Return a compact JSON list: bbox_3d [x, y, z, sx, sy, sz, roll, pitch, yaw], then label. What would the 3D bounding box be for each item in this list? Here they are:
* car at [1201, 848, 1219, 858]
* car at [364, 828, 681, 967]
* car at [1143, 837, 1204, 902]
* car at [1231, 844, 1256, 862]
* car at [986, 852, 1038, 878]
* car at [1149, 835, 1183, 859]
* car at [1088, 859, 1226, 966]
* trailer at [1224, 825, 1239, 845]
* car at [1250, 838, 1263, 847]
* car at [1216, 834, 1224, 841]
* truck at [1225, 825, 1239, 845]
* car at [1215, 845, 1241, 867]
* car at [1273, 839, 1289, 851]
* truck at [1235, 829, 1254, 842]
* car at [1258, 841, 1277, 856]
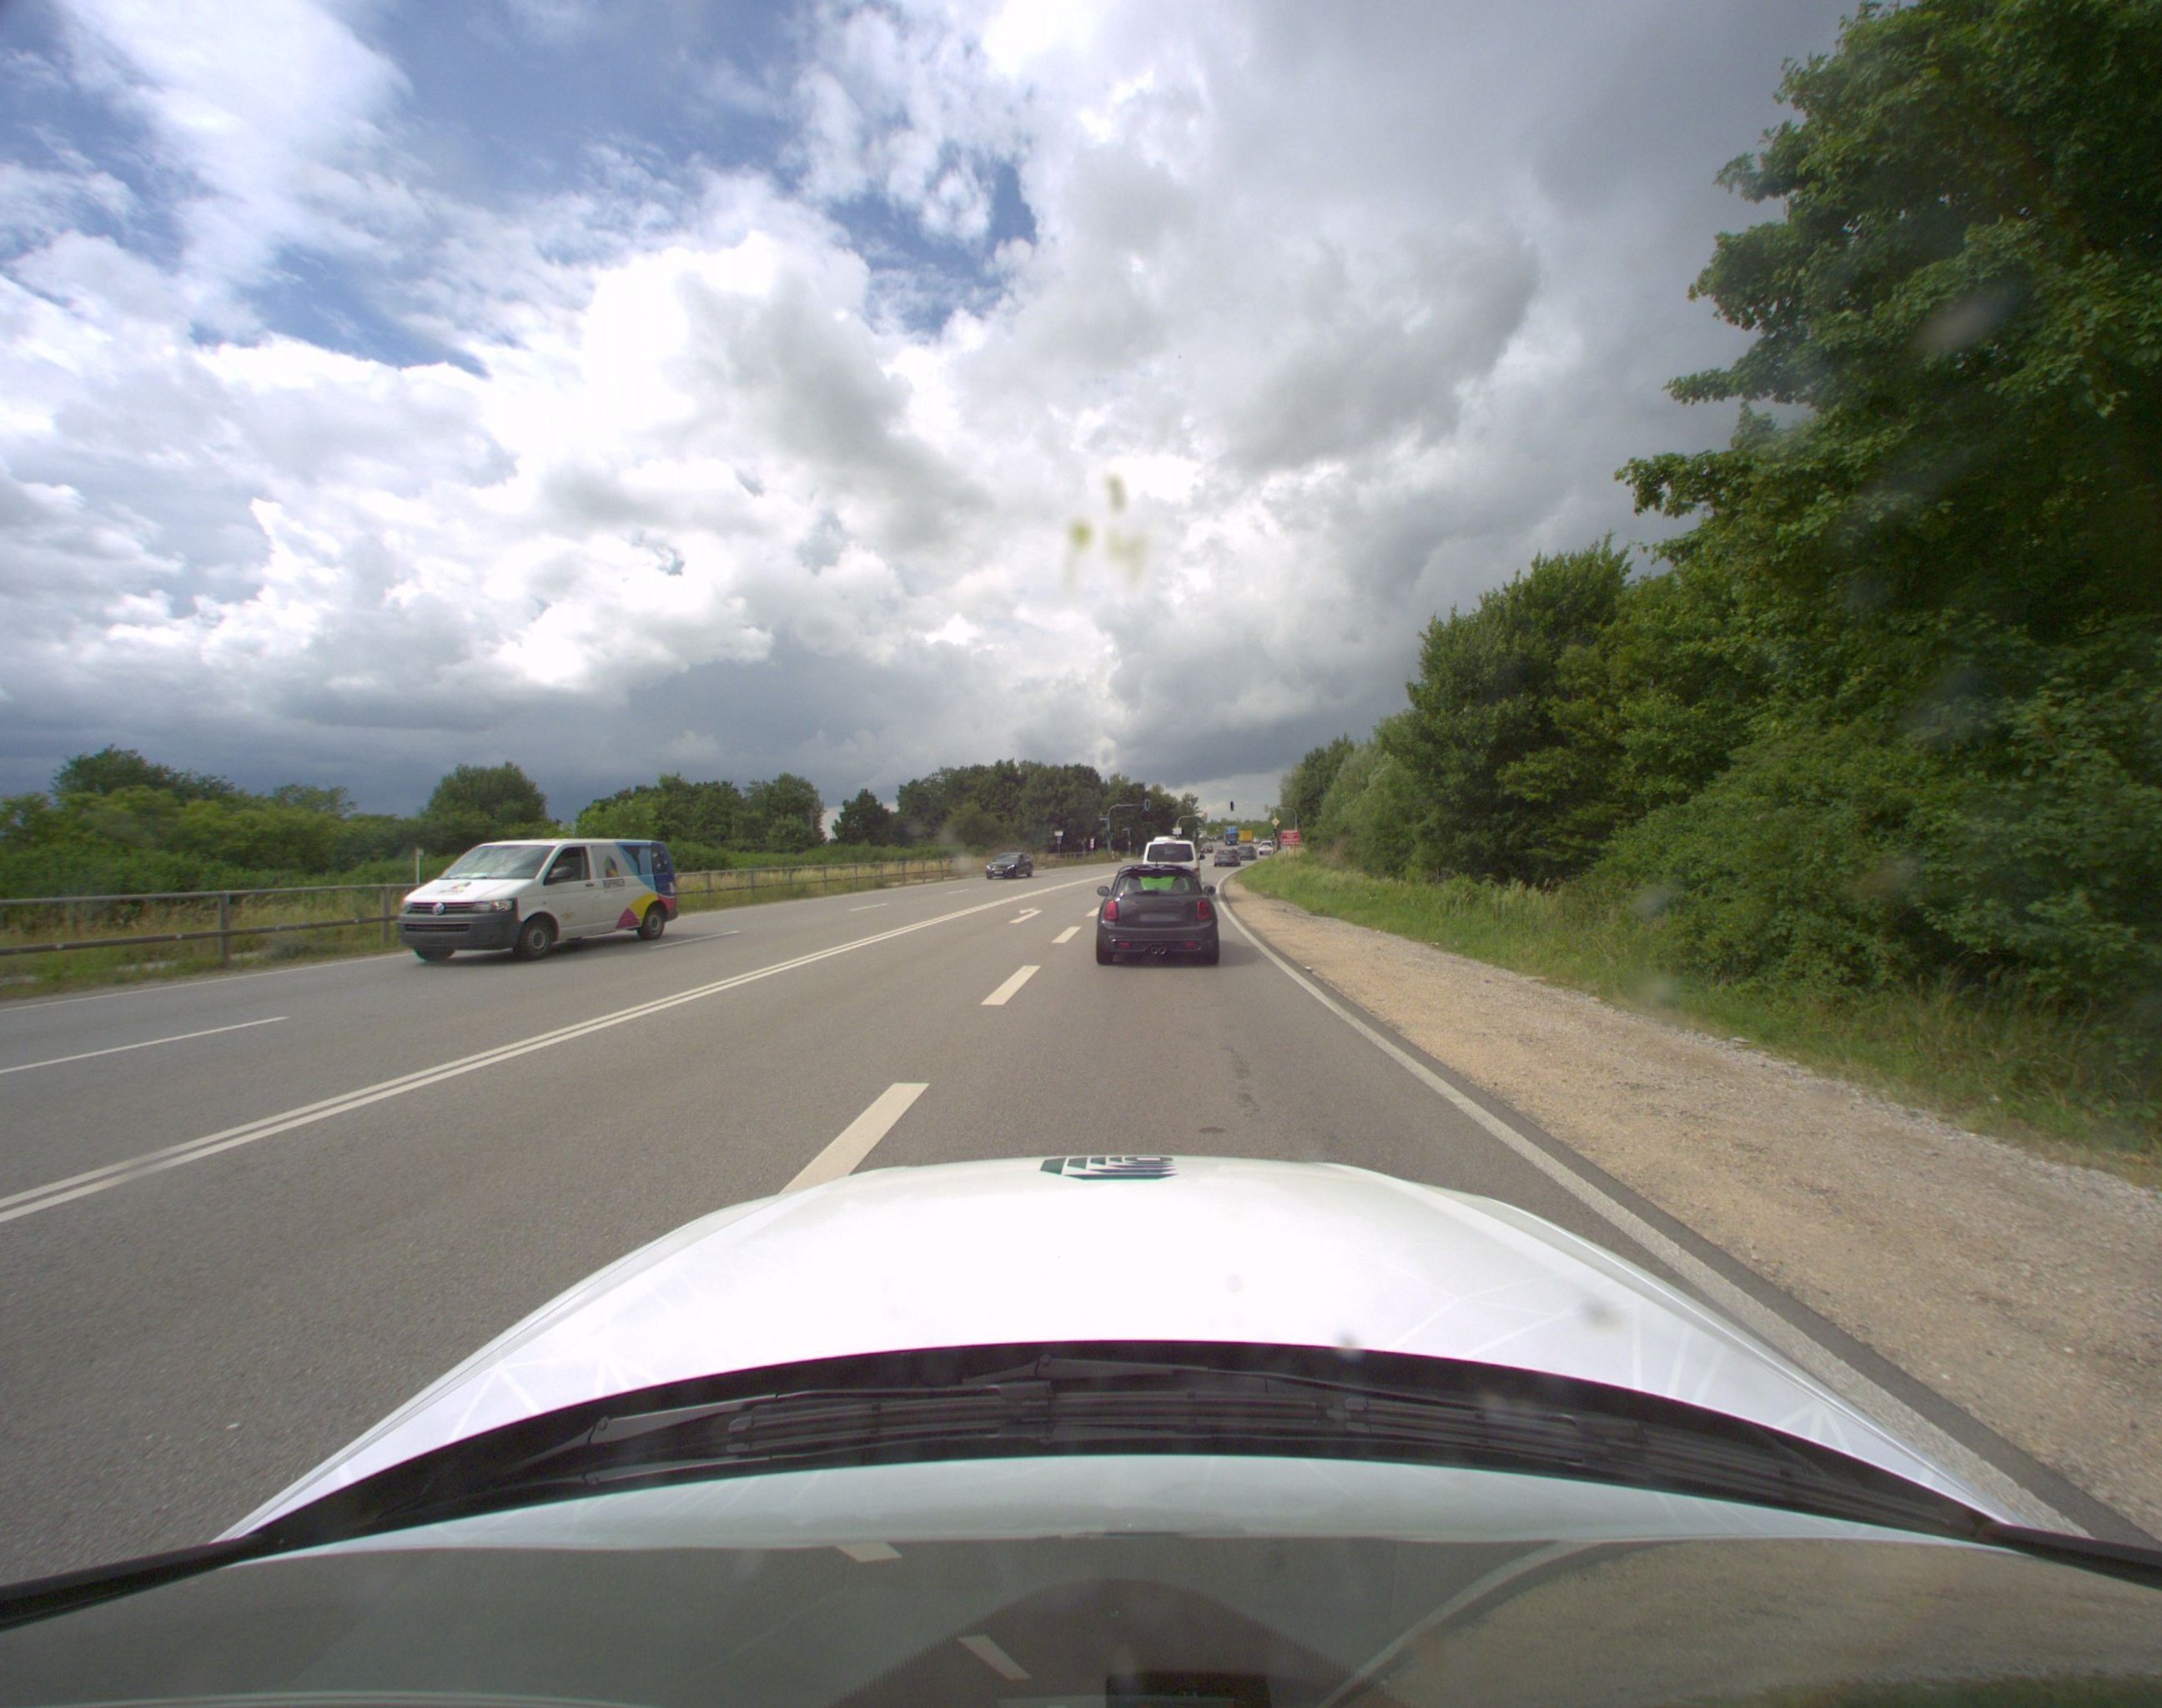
[{"bbox_3d":[20.331,-0.149,128.285,1.930,1.441,4.020,-1,0,20],"label":"car"},{"bbox_3d":[-9.349,0.645,14.264,1.984,2.013,4.674,-1,0,6],"label":"car"},{"bbox_3d":[3.086,0.452,26.993,1.835,1.987,3.849,-1,1,7],"label":"car"},{"bbox_3d":[16.497,-0.091,82.632,1.977,1.684,3.996,0,-1,19],"label":"car"},{"bbox_3d":[-3.999,0.630,47.991,1.796,1.441,4.369,-1,0,13],"label":"car"},{"bbox_3d":[9.911,-0.822,94.464,2.414,2.674,6.921,-1,0,18],"label":"car"},{"bbox_3d":[1.184,0.808,12.942,1.836,1.428,3.846,-1,0,5],"label":"car"},{"bbox_3d":[32.218,-4.013,174.807,2.515,4.100,6.746,-1,0,6],"label":"trailer"},{"bbox_3d":[37.129,-2.422,172.815,1.985,1.787,4.490,-2,1,3],"label":"car"},{"bbox_3d":[41.485,-4.956,242.994,1.985,2.014,4.003,-1,-1,4],"label":"car"},{"bbox_3d":[31.866,-3.958,171.574,2.527,4.096,4.007,-1,0,6],"label":"truck"},{"bbox_3d":[11.755,0.164,65.019,1.980,1.684,4.012,0,-1,11],"label":"car"},{"bbox_3d":[28.833,-1.303,117.237,1.978,1.684,4.017,0,-1,16],"label":"car"},{"bbox_3d":[38.176,-4.266,190.109,2.707,2.897,8.772,-1,0,1],"label":"truck"},{"bbox_3d":[22.686,-0.686,99.113,1.978,1.684,4.017,0,-1,17],"label":"car"}]
